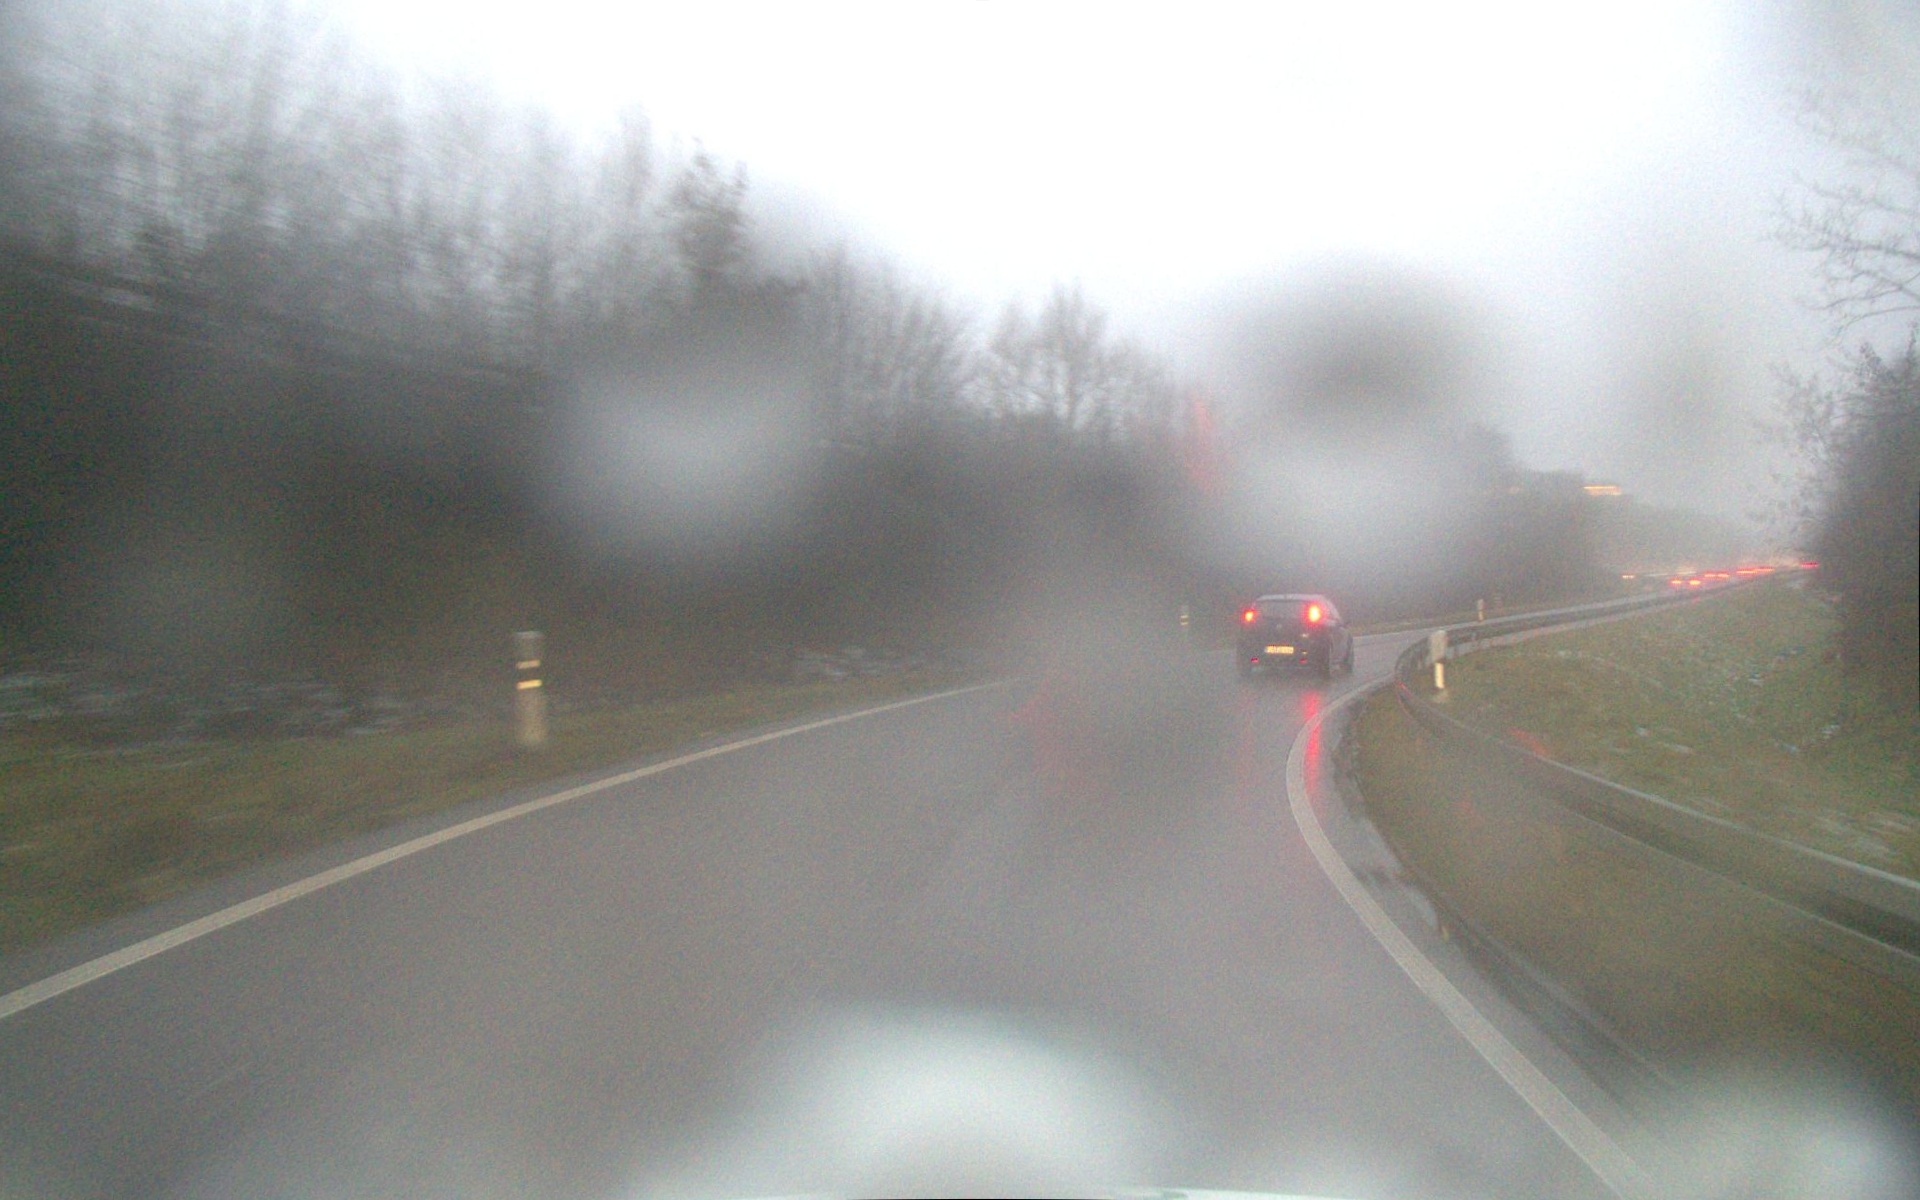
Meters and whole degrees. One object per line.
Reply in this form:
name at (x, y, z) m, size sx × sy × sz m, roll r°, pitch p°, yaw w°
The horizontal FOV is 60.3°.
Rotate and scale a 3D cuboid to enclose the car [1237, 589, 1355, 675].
car at (6.318, 0.559, 30.827) m, size 1.696 × 1.454 × 3.767 m, roll -2°, pitch 0°, yaw 18°
